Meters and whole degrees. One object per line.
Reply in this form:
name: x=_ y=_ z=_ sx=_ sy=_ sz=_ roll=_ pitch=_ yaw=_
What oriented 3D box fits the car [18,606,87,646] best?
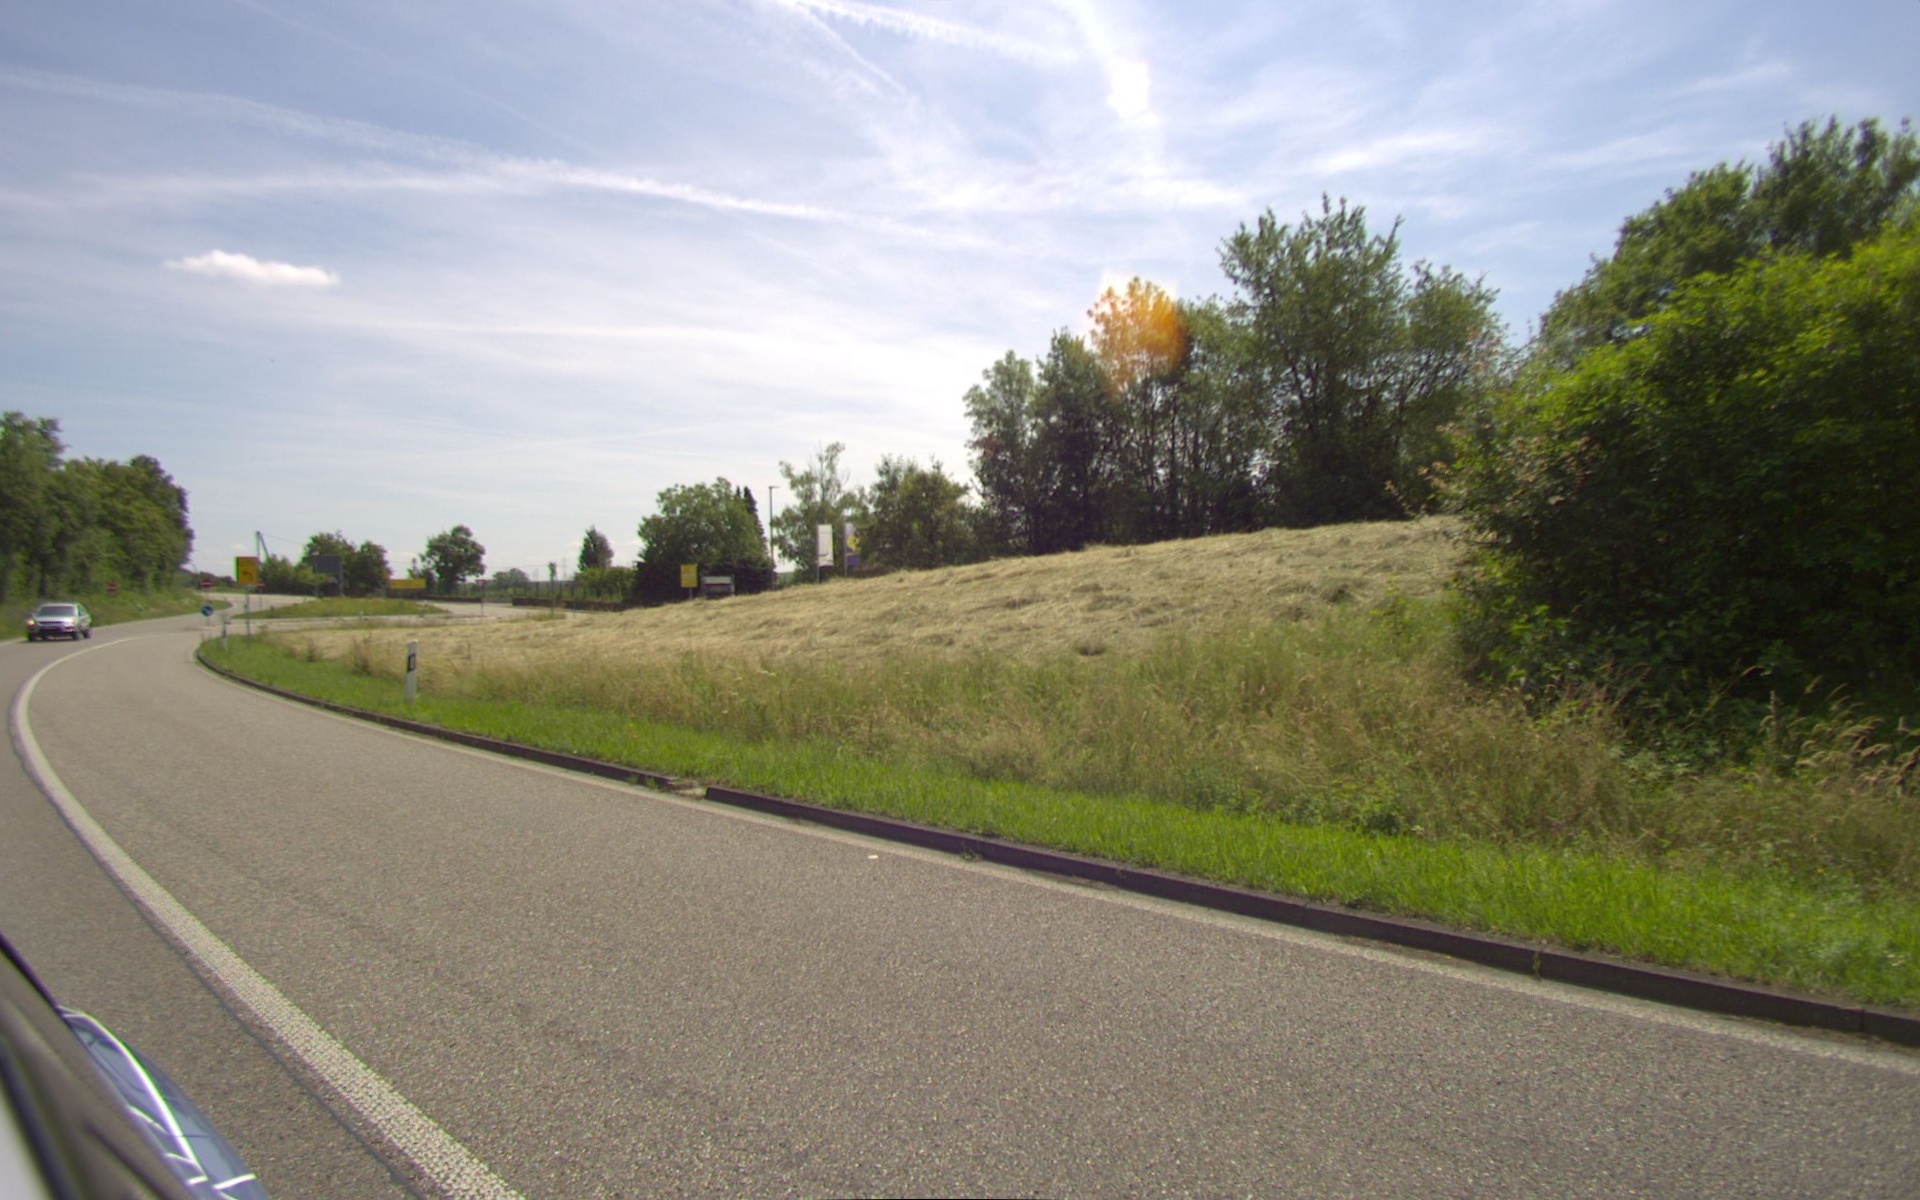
car: x=-41.616 y=1.150 z=46.488 sx=1.819 sy=1.721 sz=4.099 roll=-1 pitch=0 yaw=-34
